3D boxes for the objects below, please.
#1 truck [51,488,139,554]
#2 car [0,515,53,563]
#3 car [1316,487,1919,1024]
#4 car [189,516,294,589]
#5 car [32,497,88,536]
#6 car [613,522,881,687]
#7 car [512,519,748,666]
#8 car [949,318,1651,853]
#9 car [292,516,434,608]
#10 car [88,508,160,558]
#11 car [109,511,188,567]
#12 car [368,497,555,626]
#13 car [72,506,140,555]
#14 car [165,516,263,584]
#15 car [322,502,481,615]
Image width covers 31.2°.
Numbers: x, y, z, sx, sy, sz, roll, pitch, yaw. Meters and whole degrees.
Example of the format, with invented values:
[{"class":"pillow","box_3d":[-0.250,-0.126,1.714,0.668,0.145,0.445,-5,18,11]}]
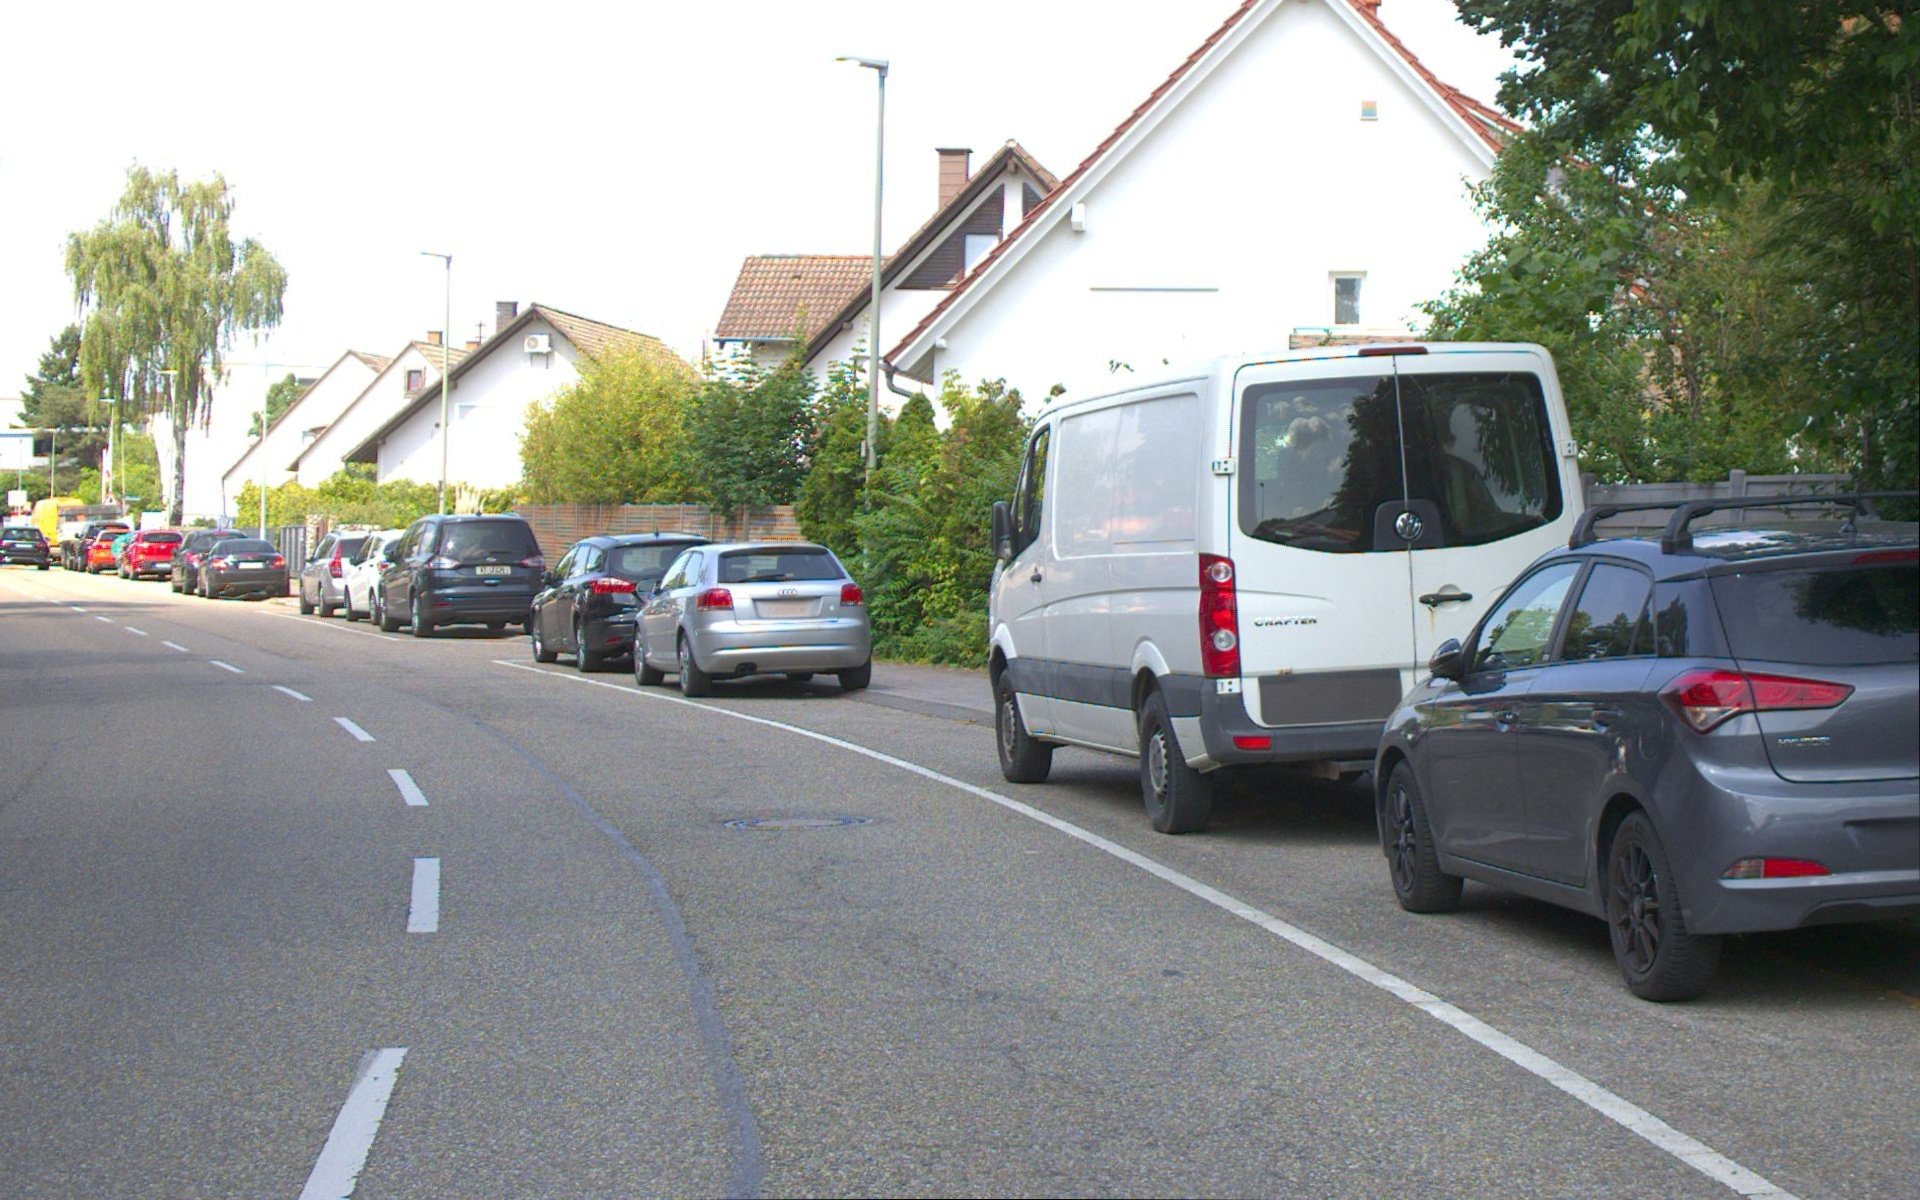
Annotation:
[{"class":"truck","box_3d":[-31.010,-2.830,123.086,2.567,2.252,6.537,1,1,-18]},{"class":"car","box_3d":[-31.189,-2.039,113.900,1.794,1.518,4.533,1,1,-19]},{"class":"car","box_3d":[2.664,0.425,12.288,1.717,1.580,4.125,1,1,-9]},{"class":"car","box_3d":[-15.935,-1.076,76.141,1.794,1.518,3.975,1,1,-18]},{"class":"car","box_3d":[-36.296,-3.383,138.653,1.794,1.518,4.533,1,1,-19]},{"class":"car","box_3d":[-2.130,-0.003,33.210,1.736,1.452,4.366,1,1,-15]},{"class":"car","box_3d":[-3.747,-0.122,38.394,1.736,1.504,4.477,1,1,-17]},{"class":"car","box_3d":[1.580,-0.122,18.760,2.117,2.432,5.896,1,1,-11]},{"class":"car","box_3d":[-10.473,-0.685,60.124,1.794,1.518,3.975,1,1,-19]},{"class":"car","box_3d":[-26.361,-2.123,108.330,1.794,1.518,4.533,1,1,-18]},{"class":"car","box_3d":[-23.381,-1.771,98.931,1.794,1.518,4.533,1,1,-18]},{"class":"car","box_3d":[-7.258,-0.588,49.687,1.794,1.742,4.585,1,1,-19]},{"class":"car","box_3d":[-28.022,-2.296,112.729,1.794,1.518,4.533,1,1,-18]},{"class":"car","box_3d":[-17.568,-1.196,80.848,1.794,1.518,3.975,1,1,-18]},{"class":"car","box_3d":[-9.112,-0.703,55.868,1.794,1.742,3.975,1,1,-20]}]
